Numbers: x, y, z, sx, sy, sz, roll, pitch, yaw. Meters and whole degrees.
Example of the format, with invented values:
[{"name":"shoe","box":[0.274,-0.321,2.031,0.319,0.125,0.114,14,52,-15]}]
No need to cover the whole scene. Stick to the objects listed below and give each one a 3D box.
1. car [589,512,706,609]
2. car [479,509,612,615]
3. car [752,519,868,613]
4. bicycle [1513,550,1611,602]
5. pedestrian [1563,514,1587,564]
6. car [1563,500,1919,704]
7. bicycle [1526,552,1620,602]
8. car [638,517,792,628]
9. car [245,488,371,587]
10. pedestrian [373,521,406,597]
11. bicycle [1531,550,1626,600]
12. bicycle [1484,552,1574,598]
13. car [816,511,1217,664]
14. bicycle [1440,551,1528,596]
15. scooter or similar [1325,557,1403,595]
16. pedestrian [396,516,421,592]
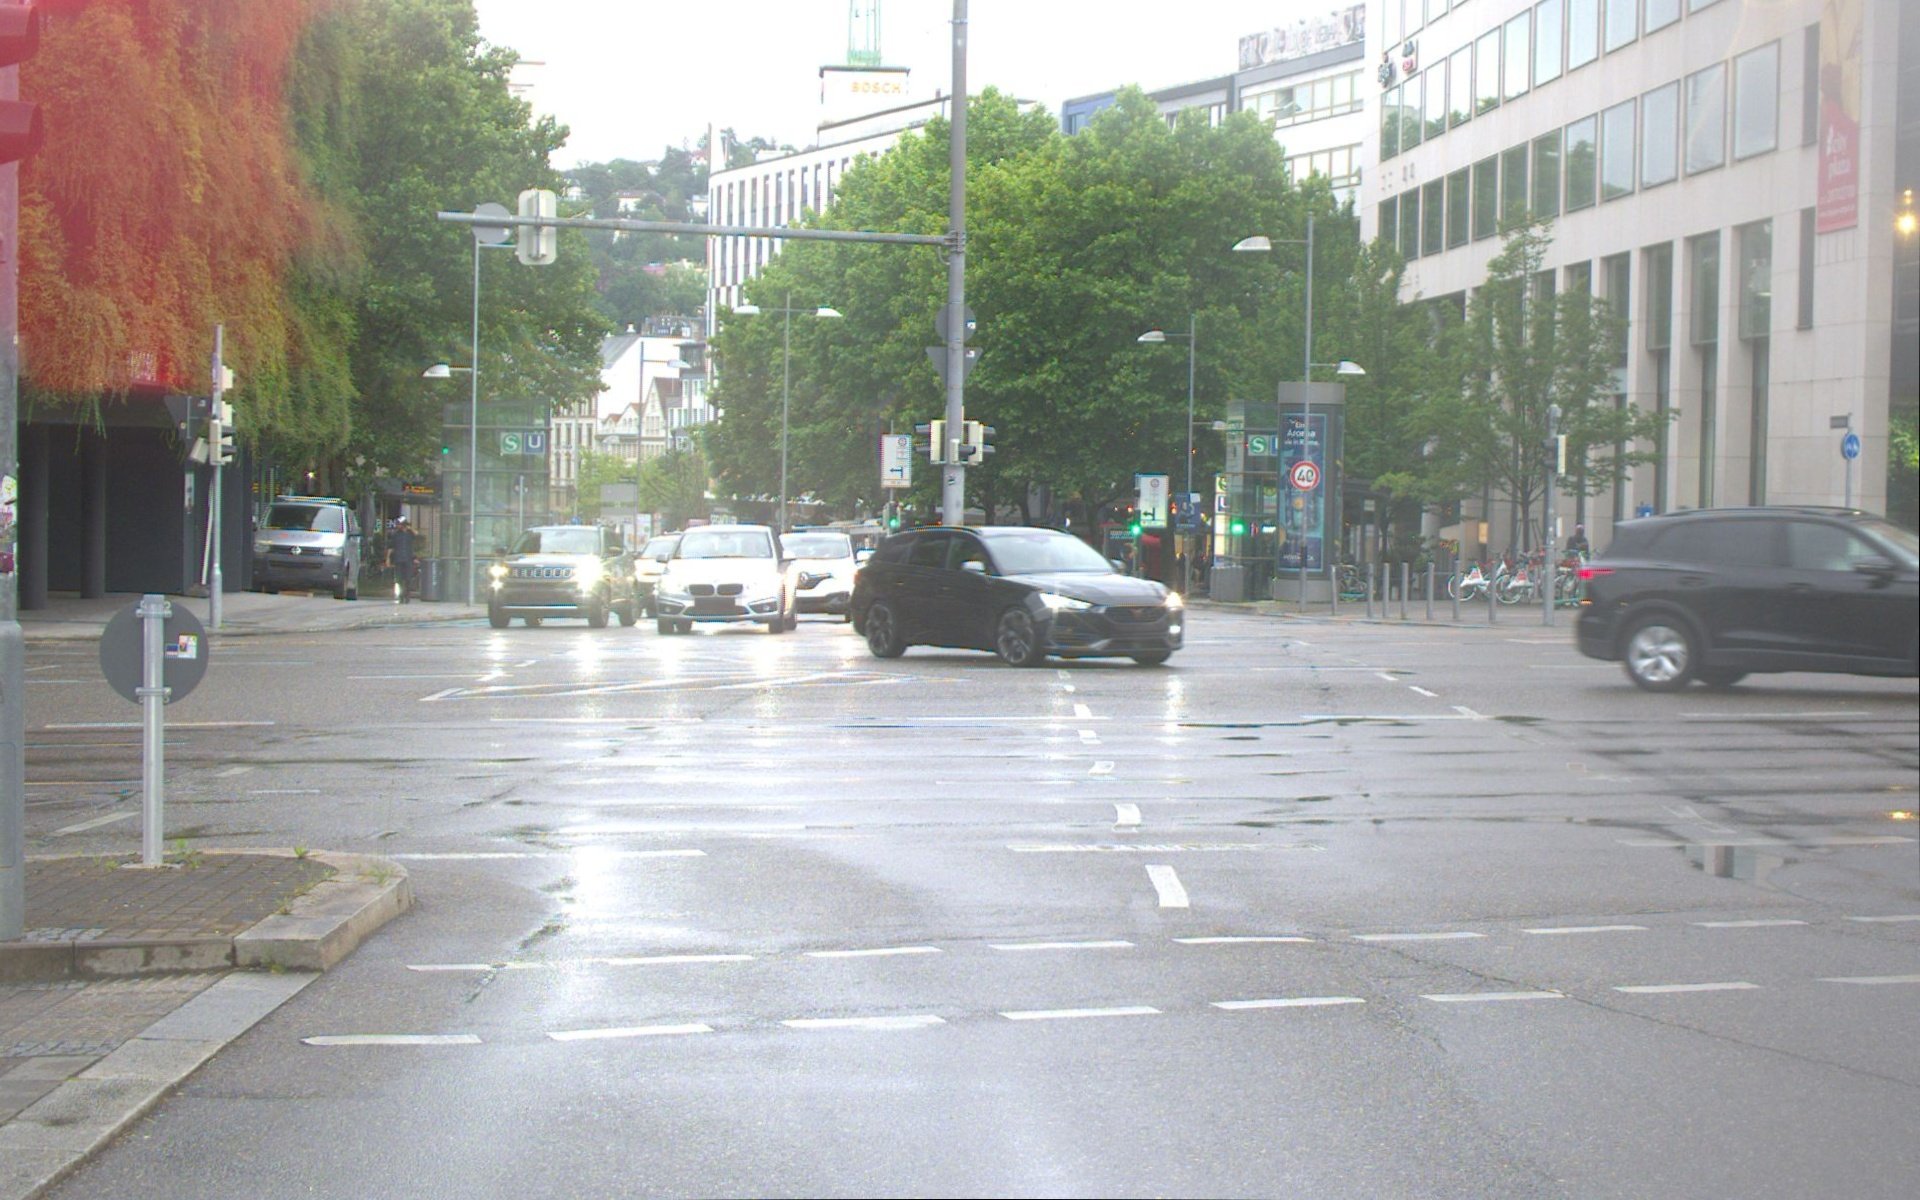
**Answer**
[{"name":"car","box":[-6.139,-0.795,67.201,2.174,1.817,4.645,0,1,-6]},{"name":"car","box":[-6.565,-0.623,54.339,1.993,1.592,4.466,0,1,-7]},{"name":"car","box":[-2.692,-0.644,61.321,1.993,1.524,4.557,0,2,-3]},{"name":"bicycle","box":[11.242,-0.455,64.224,1.799,0.931,0.474,1,1,41]},{"name":"pedestrian","box":[14.195,-1.407,79.331,0.353,1.169,0.415,-1,1,-39]},{"name":"car","box":[7.661,-0.020,29.867,4.358,1.649,1.967,1,3,32]},{"name":"bicycle","box":[11.861,-0.452,66.578,1.799,0.931,0.474,1,1,41]},{"name":"car","box":[-3.469,-0.430,49.431,1.993,1.438,4.556,0,2,-1]},{"name":"car","box":[-12.916,-1.255,68.306,1.993,1.888,4.466,0,1,-5]},{"name":"pedestrian","box":[-11.472,-0.825,69.157,0.607,1.519,0.588,0,1,-5]},{"name":"bicycle","box":[11.833,-0.478,65.832,1.799,0.931,0.474,1,1,41]},{"name":"bicycle","box":[11.732,-0.524,70.906,1.794,0.931,0.475,0,1,3]},{"name":"car","box":[0.505,-0.180,35.808,1.856,1.443,4.620,-1,2,-34]},{"name":"bicycle","box":[11.080,-0.556,72.754,1.794,0.931,0.475,0,1,3]},{"name":"scooter or similar","box":[9.382,-0.570,79.866,1.745,0.875,0.489,0,1,-19]},{"name":"pedestrian","box":[-11.095,-0.928,69.158,0.436,1.519,0.548,0,1,-5]}]
